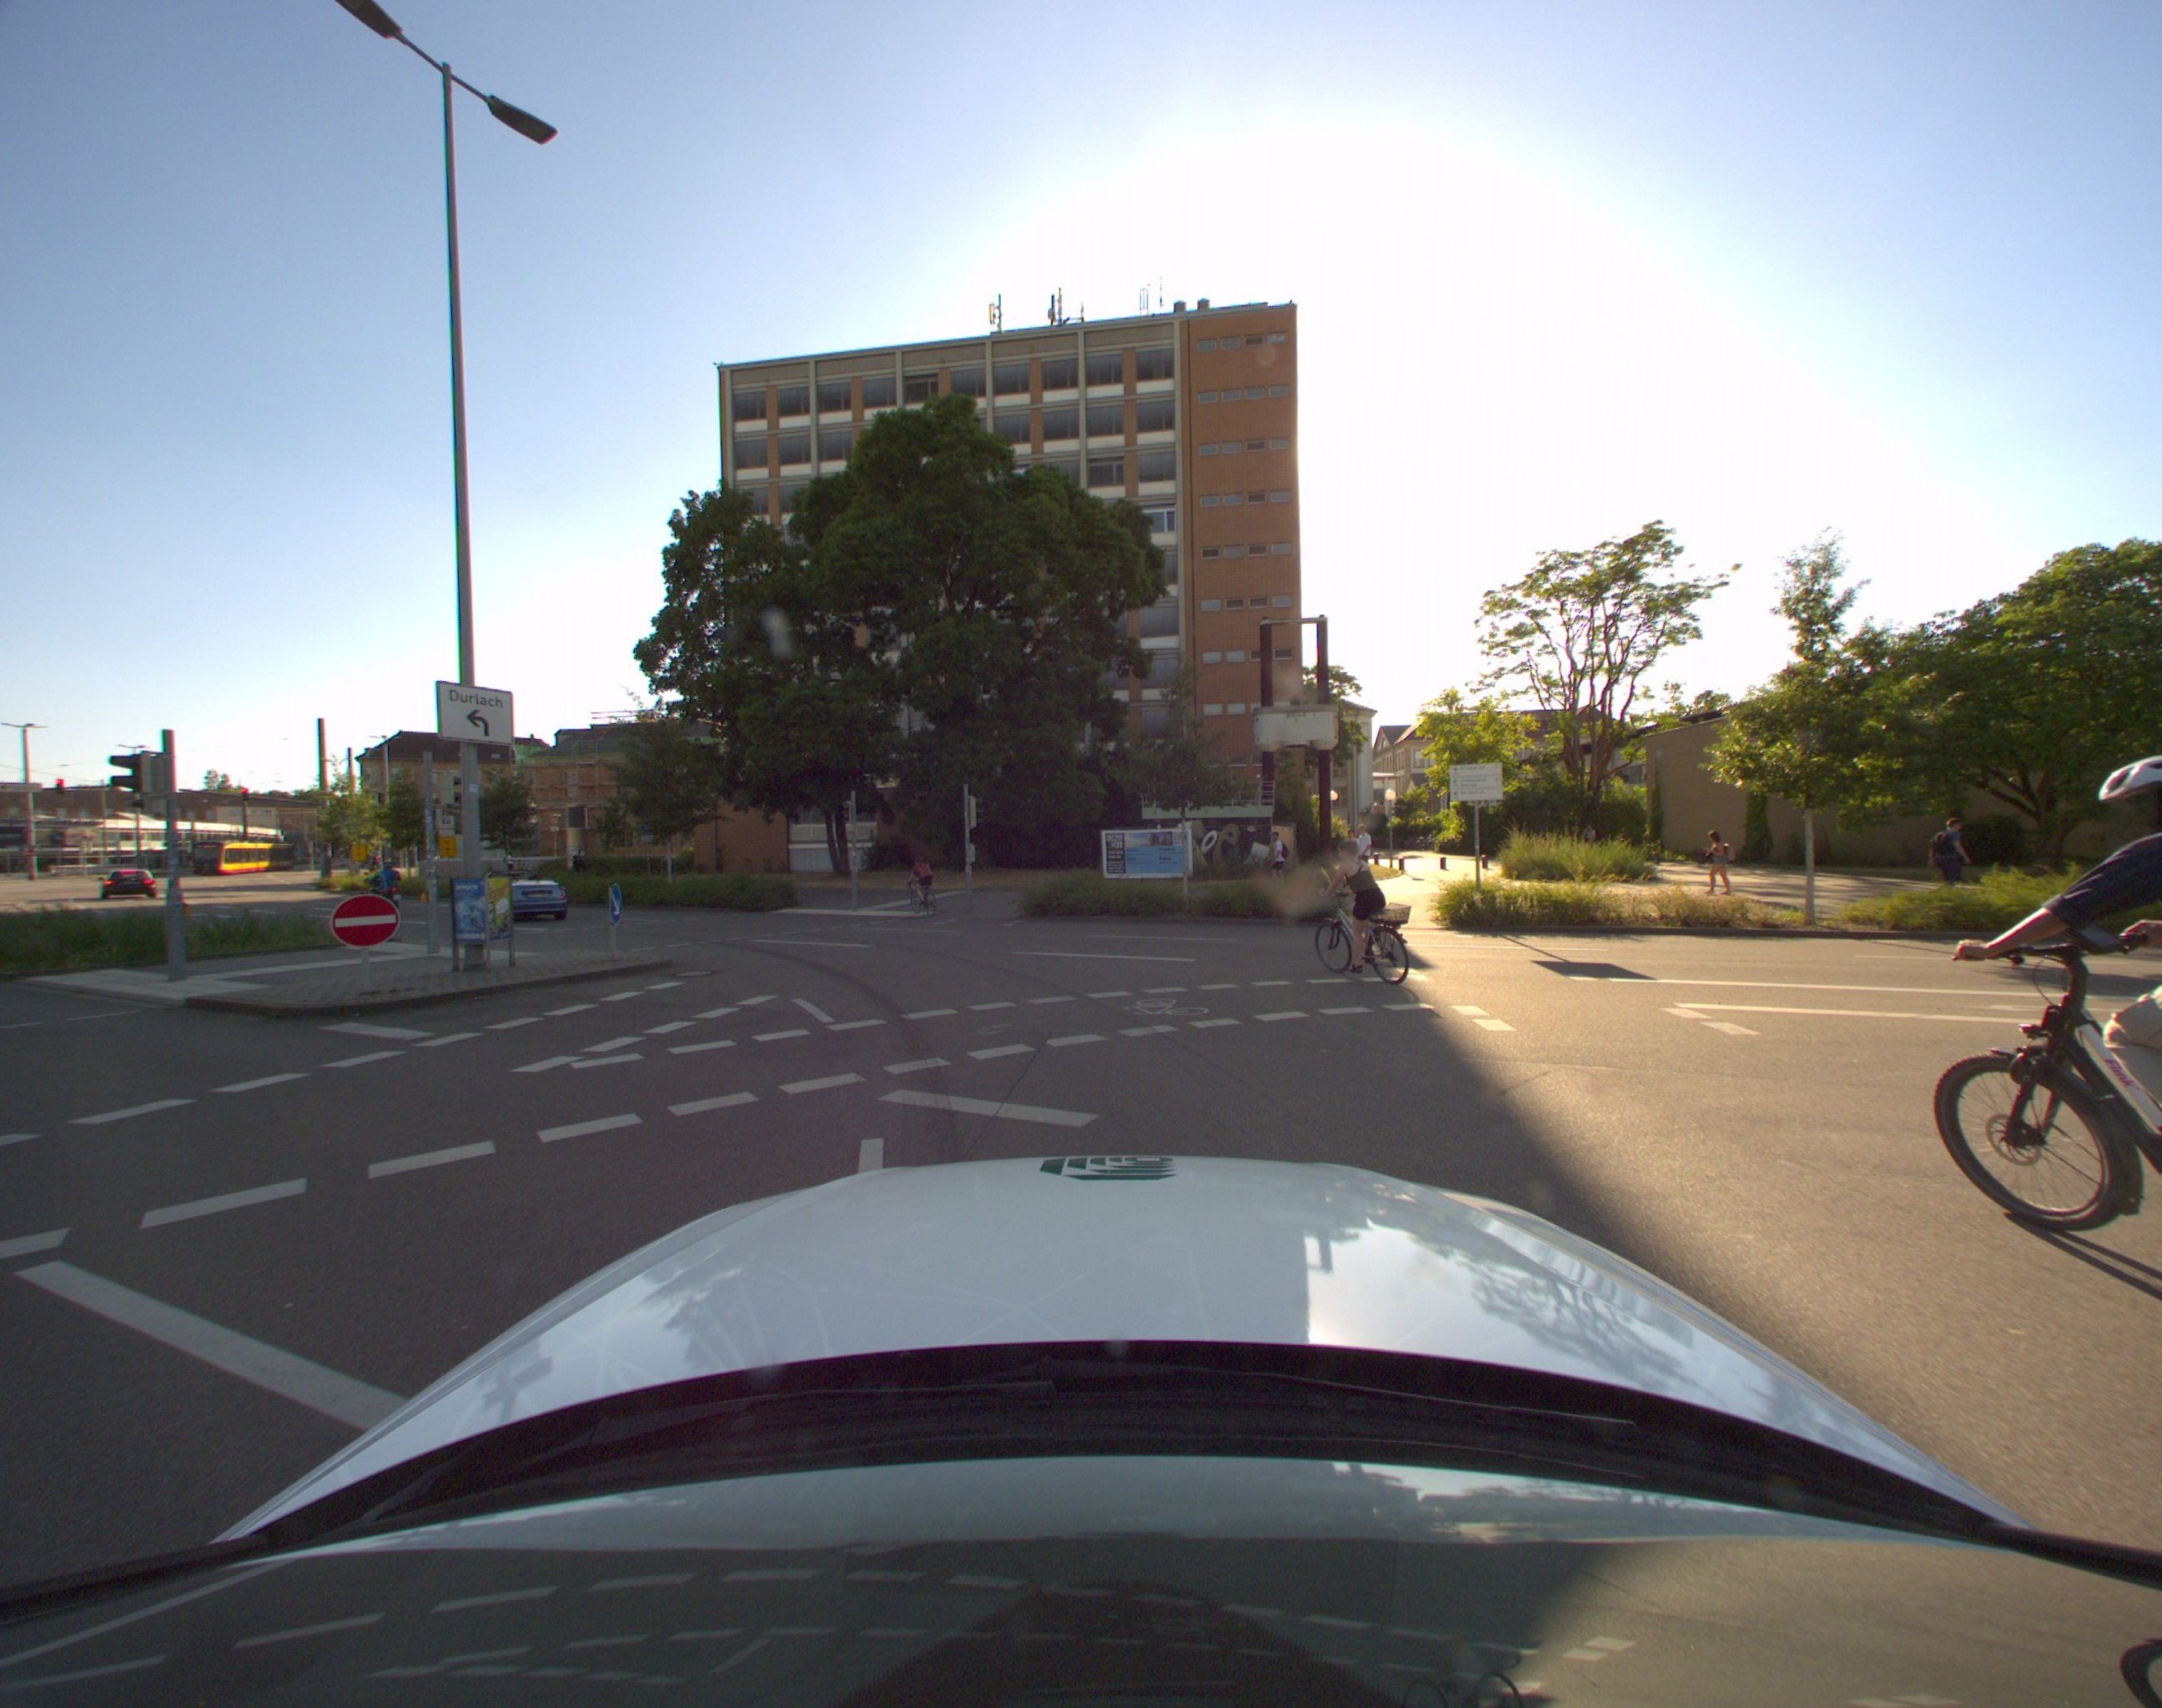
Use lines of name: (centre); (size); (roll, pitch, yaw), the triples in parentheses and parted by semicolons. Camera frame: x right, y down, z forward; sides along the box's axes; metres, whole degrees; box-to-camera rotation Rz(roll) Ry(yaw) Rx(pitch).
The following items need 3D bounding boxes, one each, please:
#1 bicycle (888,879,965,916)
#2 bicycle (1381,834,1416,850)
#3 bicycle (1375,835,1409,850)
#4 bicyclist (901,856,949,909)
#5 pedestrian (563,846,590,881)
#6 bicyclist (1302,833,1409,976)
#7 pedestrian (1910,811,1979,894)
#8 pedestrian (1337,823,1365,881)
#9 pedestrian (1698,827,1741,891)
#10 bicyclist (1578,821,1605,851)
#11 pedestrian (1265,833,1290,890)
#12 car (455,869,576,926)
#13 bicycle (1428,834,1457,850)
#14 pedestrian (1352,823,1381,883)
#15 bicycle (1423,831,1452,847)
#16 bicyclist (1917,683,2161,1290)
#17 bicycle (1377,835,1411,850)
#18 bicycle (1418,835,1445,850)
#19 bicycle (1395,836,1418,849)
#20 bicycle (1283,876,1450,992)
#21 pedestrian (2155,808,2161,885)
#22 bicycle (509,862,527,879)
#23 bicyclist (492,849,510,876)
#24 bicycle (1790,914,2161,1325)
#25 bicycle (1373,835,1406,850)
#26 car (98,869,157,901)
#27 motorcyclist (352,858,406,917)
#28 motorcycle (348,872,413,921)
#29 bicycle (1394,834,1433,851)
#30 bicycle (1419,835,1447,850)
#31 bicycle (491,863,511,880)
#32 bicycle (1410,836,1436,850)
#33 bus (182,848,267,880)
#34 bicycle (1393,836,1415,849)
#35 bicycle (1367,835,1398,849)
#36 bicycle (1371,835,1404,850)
bicycle: (-4.209, 1.178, 22.104); (2.220, 0.952, 0.726); (-2, -1, 37)
bicycle: (28.167, -1.031, 72.296); (2.852, 1.381, 0.685); (1, 1, 13)
bicycle: (28.723, -1.085, 75.161); (2.852, 1.381, 0.685); (1, 1, 13)
bicyclist: (-4.249, 0.779, 22.135); (1.062, 1.384, 0.726); (-2, -1, 37)
pedestrian: (-24.867, 0.477, 40.152); (0.780, 1.658, 0.813); (0, 2, 30)
bicyclist: (3.435, 0.590, 10.250); (0.780, 1.677, 1.087); (-1, 1, -17)
pedestrian: (18.350, -0.038, 17.331); (0.726, 1.713, 0.715); (-1, 1, 13)
pedestrian: (8.844, -0.075, 26.649); (0.578, 1.869, 0.617); (-2, 1, -26)
pedestrian: (16.038, 0.131, 20.463); (0.633, 1.574, 0.625); (-1, 1, 13)
bicyclist: (24.844, -0.880, 39.642); (0.908, 1.434, 0.625); (1, 1, 12)
pedestrian: (5.931, 0.214, 24.562); (0.623, 1.699, 0.626); (-1, 1, 22)
car: (-16.107, 1.179, 23.128); (3.927, 1.444, 1.818); (-1, -1, 39)
bicycle: (25.002, -0.844, 56.386); (1.782, 1.107, 0.502); (1, 1, 13)
pedestrian: (9.110, -0.029, 26.000); (0.578, 1.869, 0.617); (-2, 1, -26)
bicycle: (25.490, -1.060, 58.264); (1.782, 1.107, 0.502); (1, 1, 13)
bicyclist: (3.672, 0.401, 2.644); (0.774, 1.834, 1.095); (-1, -2, 7)
bicycle: (28.550, -1.069, 74.306); (2.852, 1.381, 0.685); (1, 1, 13)
bicycle: (26.102, -0.832, 60.697); (1.782, 1.107, 0.502); (1, 1, 13)
bicycle: (27.490, -0.965, 68.796); (1.782, 1.107, 0.502); (1, 1, 13)
bicycle: (3.466, 0.912, 10.183); (0.780, 1.156, 2.278); (-1, 1, -17)
pedestrian: (24.365, -0.177, 17.782); (0.869, 1.704, 0.678); (-1, 1, 8)
bicycle: (-38.360, 1.107, 55.500); (0.629, 1.038, 1.947); (-4, 2, -25)
bicyclist: (-38.915, 0.576, 54.604); (0.794, 1.786, 0.883); (-4, 2, -43)
bicycle: (3.677, 0.847, 2.629); (0.774, 1.156, 2.586); (-1, -1, 8)
bicycle: (29.111, -1.116, 76.834); (2.852, 1.381, 0.685); (1, 1, 13)
car: (-47.689, 1.515, 40.716); (3.927, 1.444, 1.818); (-1, -1, 39)
motorcyclist: (-21.464, 1.011, 24.917); (0.924, 1.721, 1.106); (-1, -1, 40)
motorcycle: (-21.443, 1.263, 24.896); (2.619, 1.377, 1.106); (-1, 0, 40)
bicycle: (27.233, -0.926, 66.786); (2.852, 1.381, 0.685); (1, 1, 13)
bicycle: (25.878, -0.843, 59.917); (1.782, 1.107, 0.502); (1, 1, 13)
bicycle: (-38.915, 1.173, 54.658); (0.796, 1.038, 1.939); (-4, 2, -43)
bicycle: (26.722, -0.865, 63.604); (1.782, 1.107, 0.502); (1, 1, 13)
bus: (-86.110, 0.879, 82.111); (2.365, 2.883, 9.503); (0, 1, -24)
bicycle: (27.958, -0.996, 70.509); (1.782, 1.107, 0.502); (1, 1, 13)
bicycle: (29.764, -1.185, 80.447); (2.852, 1.381, 0.685); (1, 1, 13)
bicycle: (29.470, -1.145, 78.397); (2.852, 1.381, 0.685); (1, 1, 13)
